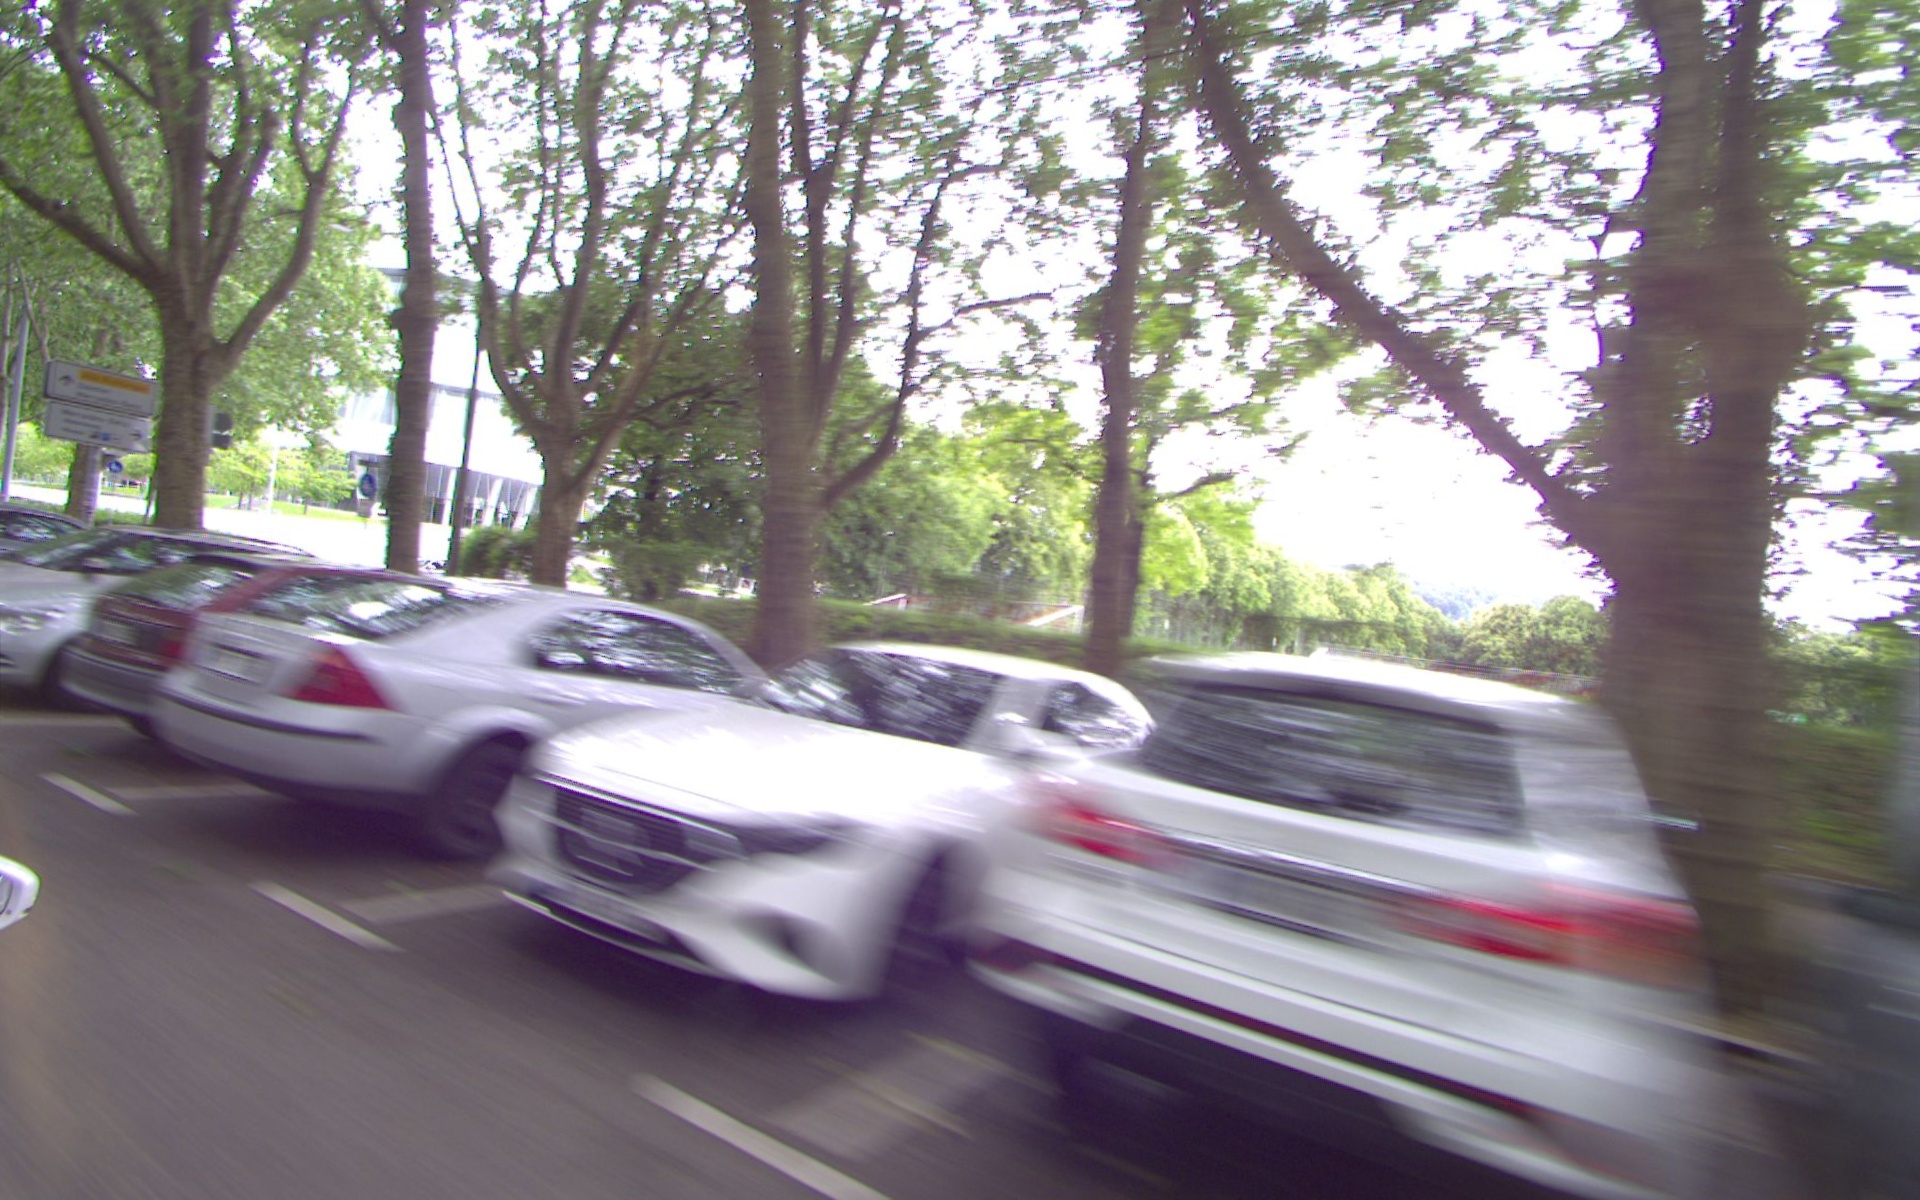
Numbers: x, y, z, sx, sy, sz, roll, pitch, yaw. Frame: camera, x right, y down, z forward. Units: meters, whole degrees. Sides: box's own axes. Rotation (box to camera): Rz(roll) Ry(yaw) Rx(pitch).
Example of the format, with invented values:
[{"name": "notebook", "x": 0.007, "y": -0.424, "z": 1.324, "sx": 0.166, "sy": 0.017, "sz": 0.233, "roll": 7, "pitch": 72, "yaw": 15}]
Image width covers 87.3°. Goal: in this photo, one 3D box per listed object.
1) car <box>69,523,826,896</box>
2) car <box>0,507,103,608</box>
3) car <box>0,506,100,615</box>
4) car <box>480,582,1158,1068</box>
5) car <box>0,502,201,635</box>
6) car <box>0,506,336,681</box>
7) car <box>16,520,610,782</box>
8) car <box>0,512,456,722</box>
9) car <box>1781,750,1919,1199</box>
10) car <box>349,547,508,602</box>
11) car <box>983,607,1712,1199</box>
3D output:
[{"name": "car", "x": -2.775, "y": 0.610, "z": 6.309, "sx": 1.951, "sy": 1.440, "sz": 3.656, "roll": 7, "pitch": -2, "yaw": 28}, {"name": "car", "x": -16.667, "y": -0.980, "z": 15.604, "sx": 1.893, "sy": 1.467, "sz": 4.674, "roll": 7, "pitch": -3, "yaw": 30}, {"name": "car", "x": -14.962, "y": -0.790, "z": 14.174, "sx": 1.529, "sy": 1.468, "sz": 3.929, "roll": 7, "pitch": -2, "yaw": 30}, {"name": "car", "x": -0.304, "y": 0.905, "z": 5.220, "sx": 1.493, "sy": 1.426, "sz": 3.656, "roll": 7, "pitch": -2, "yaw": 28}, {"name": "car", "x": -12.692, "y": -0.508, "z": 13.604, "sx": 1.529, "sy": 1.525, "sz": 3.434, "roll": 7, "pitch": -2, "yaw": 30}, {"name": "car", "x": -8.697, "y": -0.078, "z": 10.152, "sx": 1.493, "sy": 1.440, "sz": 3.688, "roll": 7, "pitch": -2, "yaw": 30}, {"name": "car", "x": -4.638, "y": 0.445, "z": 7.751, "sx": 1.493, "sy": 1.440, "sz": 3.435, "roll": 7, "pitch": -2, "yaw": 28}, {"name": "car", "x": -6.597, "y": 0.216, "z": 8.884, "sx": 1.494, "sy": 1.440, "sz": 3.431, "roll": 7, "pitch": -2, "yaw": 33}, {"name": "car", "x": 3.753, "y": 1.365, "z": 3.049, "sx": 1.618, "sy": 1.536, "sz": 3.648, "roll": 7, "pitch": -2, "yaw": 37}, {"name": "car", "x": -19.981, "y": -0.913, "z": 38.082, "sx": 1.966, "sy": 1.419, "sz": 4.942, "roll": 7, "pitch": -1, "yaw": 30}, {"name": "car", "x": 1.662, "y": 1.124, "z": 4.093, "sx": 1.493, "sy": 1.686, "sz": 3.656, "roll": 7, "pitch": -2, "yaw": 28}]
